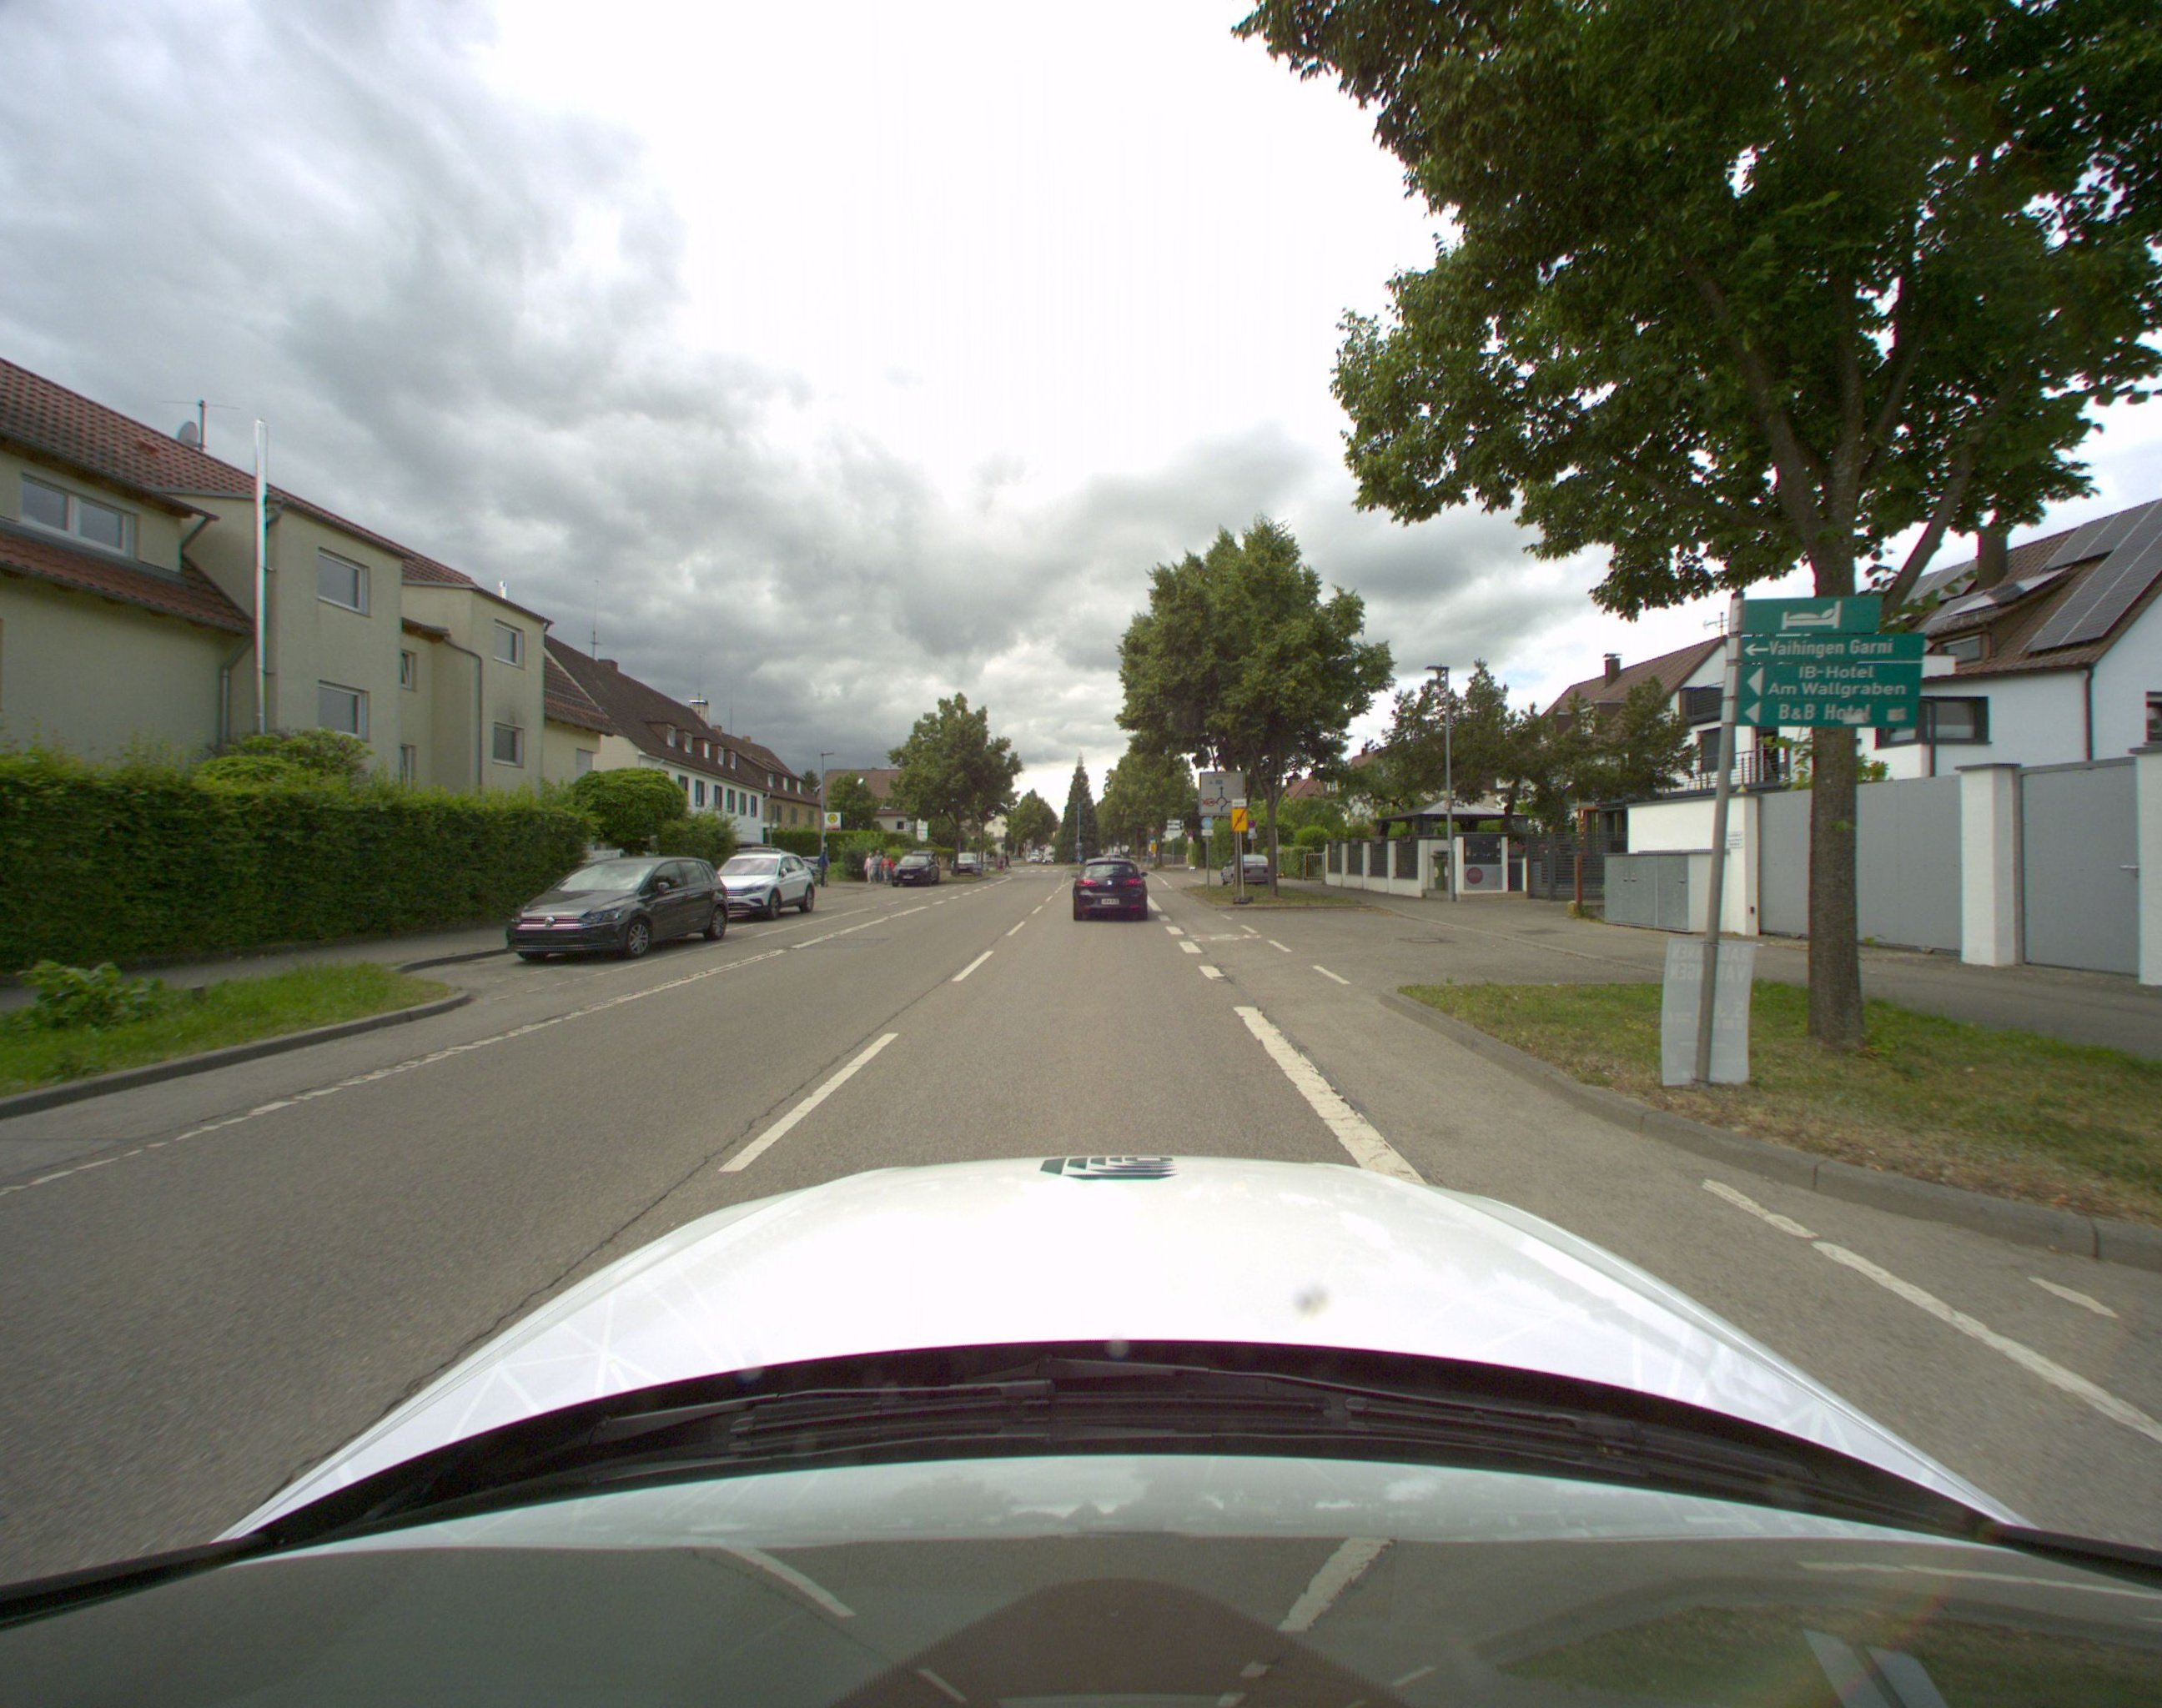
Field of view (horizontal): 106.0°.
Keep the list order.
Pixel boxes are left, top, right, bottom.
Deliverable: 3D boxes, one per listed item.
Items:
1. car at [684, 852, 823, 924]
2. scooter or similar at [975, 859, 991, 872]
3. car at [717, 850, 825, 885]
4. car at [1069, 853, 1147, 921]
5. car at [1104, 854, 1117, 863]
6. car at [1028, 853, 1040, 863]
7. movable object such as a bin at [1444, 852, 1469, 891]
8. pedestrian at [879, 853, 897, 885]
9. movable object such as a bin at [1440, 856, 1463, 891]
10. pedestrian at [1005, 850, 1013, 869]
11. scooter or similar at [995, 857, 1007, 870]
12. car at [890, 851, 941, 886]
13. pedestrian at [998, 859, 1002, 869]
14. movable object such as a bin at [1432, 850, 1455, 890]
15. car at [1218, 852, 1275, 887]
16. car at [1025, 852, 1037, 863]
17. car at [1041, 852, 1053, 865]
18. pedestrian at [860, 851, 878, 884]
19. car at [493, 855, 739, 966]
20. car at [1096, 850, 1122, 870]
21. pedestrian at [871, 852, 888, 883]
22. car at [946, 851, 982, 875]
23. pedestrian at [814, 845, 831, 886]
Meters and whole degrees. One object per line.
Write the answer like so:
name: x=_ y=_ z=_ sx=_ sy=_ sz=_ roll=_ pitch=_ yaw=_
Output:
car: x=-8.281 y=0.775 z=21.070 sx=1.815 sy=1.634 sz=4.583 roll=-1 pitch=0 yaw=-2
scooter or similar: x=-8.601 y=0.991 z=71.451 sx=1.292 sy=1.139 sz=0.344 roll=-1 pitch=0 yaw=-31
car: x=-14.400 y=0.648 z=38.088 sx=4.522 sy=1.554 sz=2.025 roll=1 pitch=0 yaw=-16
car: x=0.731 y=0.736 z=20.111 sx=1.724 sy=1.486 sz=4.004 roll=-1 pitch=0 yaw=4
car: x=4.977 y=0.729 z=138.331 sx=1.474 sy=1.489 sz=3.371 roll=-1 pitch=0 yaw=-9
car: x=-7.914 y=0.703 z=136.514 sx=1.792 sy=1.601 sz=4.000 roll=-1 pitch=0 yaw=0
movable object such as a bin: x=9.970 y=0.469 z=21.637 sx=0.434 sy=1.022 sz=0.455 roll=-1 pitch=0 yaw=2
pedestrian: x=-10.183 y=0.768 z=42.965 sx=0.786 sy=1.663 sz=0.753 roll=0 pitch=0 yaw=-6
movable object such as a bin: x=10.102 y=0.528 z=22.206 sx=0.434 sy=0.920 sz=0.396 roll=-1 pitch=0 yaw=2
pedestrian: x=-6.548 y=0.509 z=73.876 sx=0.509 sy=1.669 sz=0.486 roll=-1 pitch=0 yaw=41
scooter or similar: x=-7.270 y=0.874 z=74.066 sx=0.958 sy=1.095 sz=0.409 roll=1 pitch=-1 yaw=28
car: x=-8.584 y=0.709 z=42.585 sx=1.719 sy=1.725 sz=4.563 roll=0 pitch=0 yaw=-1
pedestrian: x=-7.274 y=0.911 z=72.880 sx=0.239 sy=0.894 sz=0.257 roll=0 pitch=0 yaw=-26
movable object such as a bin: x=10.112 y=0.436 z=22.739 sx=0.434 sy=1.109 sz=0.455 roll=-1 pitch=0 yaw=2
car: x=6.933 y=0.676 z=34.527 sx=1.606 sy=1.377 sz=4.388 roll=-1 pitch=-1 yaw=2
car: x=-9.511 y=0.615 z=154.603 sx=2.024 sy=1.970 sz=3.997 roll=-1 pitch=0 yaw=-2
car: x=-4.555 y=0.573 z=110.332 sx=1.564 sy=1.634 sz=3.619 roll=-1 pitch=0 yaw=-2
pedestrian: x=-11.110 y=0.697 z=42.646 sx=0.786 sy=1.663 sz=0.880 roll=-1 pitch=0 yaw=-6
car: x=-7.527 y=0.814 z=13.755 sx=1.671 sy=1.552 sz=4.272 roll=-1 pitch=0 yaw=0
car: x=2.277 y=0.463 z=65.803 sx=1.986 sy=1.613 sz=4.002 roll=0 pitch=0 yaw=2
pedestrian: x=-10.906 y=0.720 z=44.014 sx=0.786 sy=1.663 sz=0.590 roll=-1 pitch=0 yaw=-6
car: x=-8.450 y=0.639 z=58.986 sx=1.853 sy=1.653 sz=4.296 roll=0 pitch=0 yaw=2
pedestrian: x=-11.569 y=0.518 z=36.462 sx=0.502 sy=1.806 sz=0.671 roll=-1 pitch=0 yaw=1
